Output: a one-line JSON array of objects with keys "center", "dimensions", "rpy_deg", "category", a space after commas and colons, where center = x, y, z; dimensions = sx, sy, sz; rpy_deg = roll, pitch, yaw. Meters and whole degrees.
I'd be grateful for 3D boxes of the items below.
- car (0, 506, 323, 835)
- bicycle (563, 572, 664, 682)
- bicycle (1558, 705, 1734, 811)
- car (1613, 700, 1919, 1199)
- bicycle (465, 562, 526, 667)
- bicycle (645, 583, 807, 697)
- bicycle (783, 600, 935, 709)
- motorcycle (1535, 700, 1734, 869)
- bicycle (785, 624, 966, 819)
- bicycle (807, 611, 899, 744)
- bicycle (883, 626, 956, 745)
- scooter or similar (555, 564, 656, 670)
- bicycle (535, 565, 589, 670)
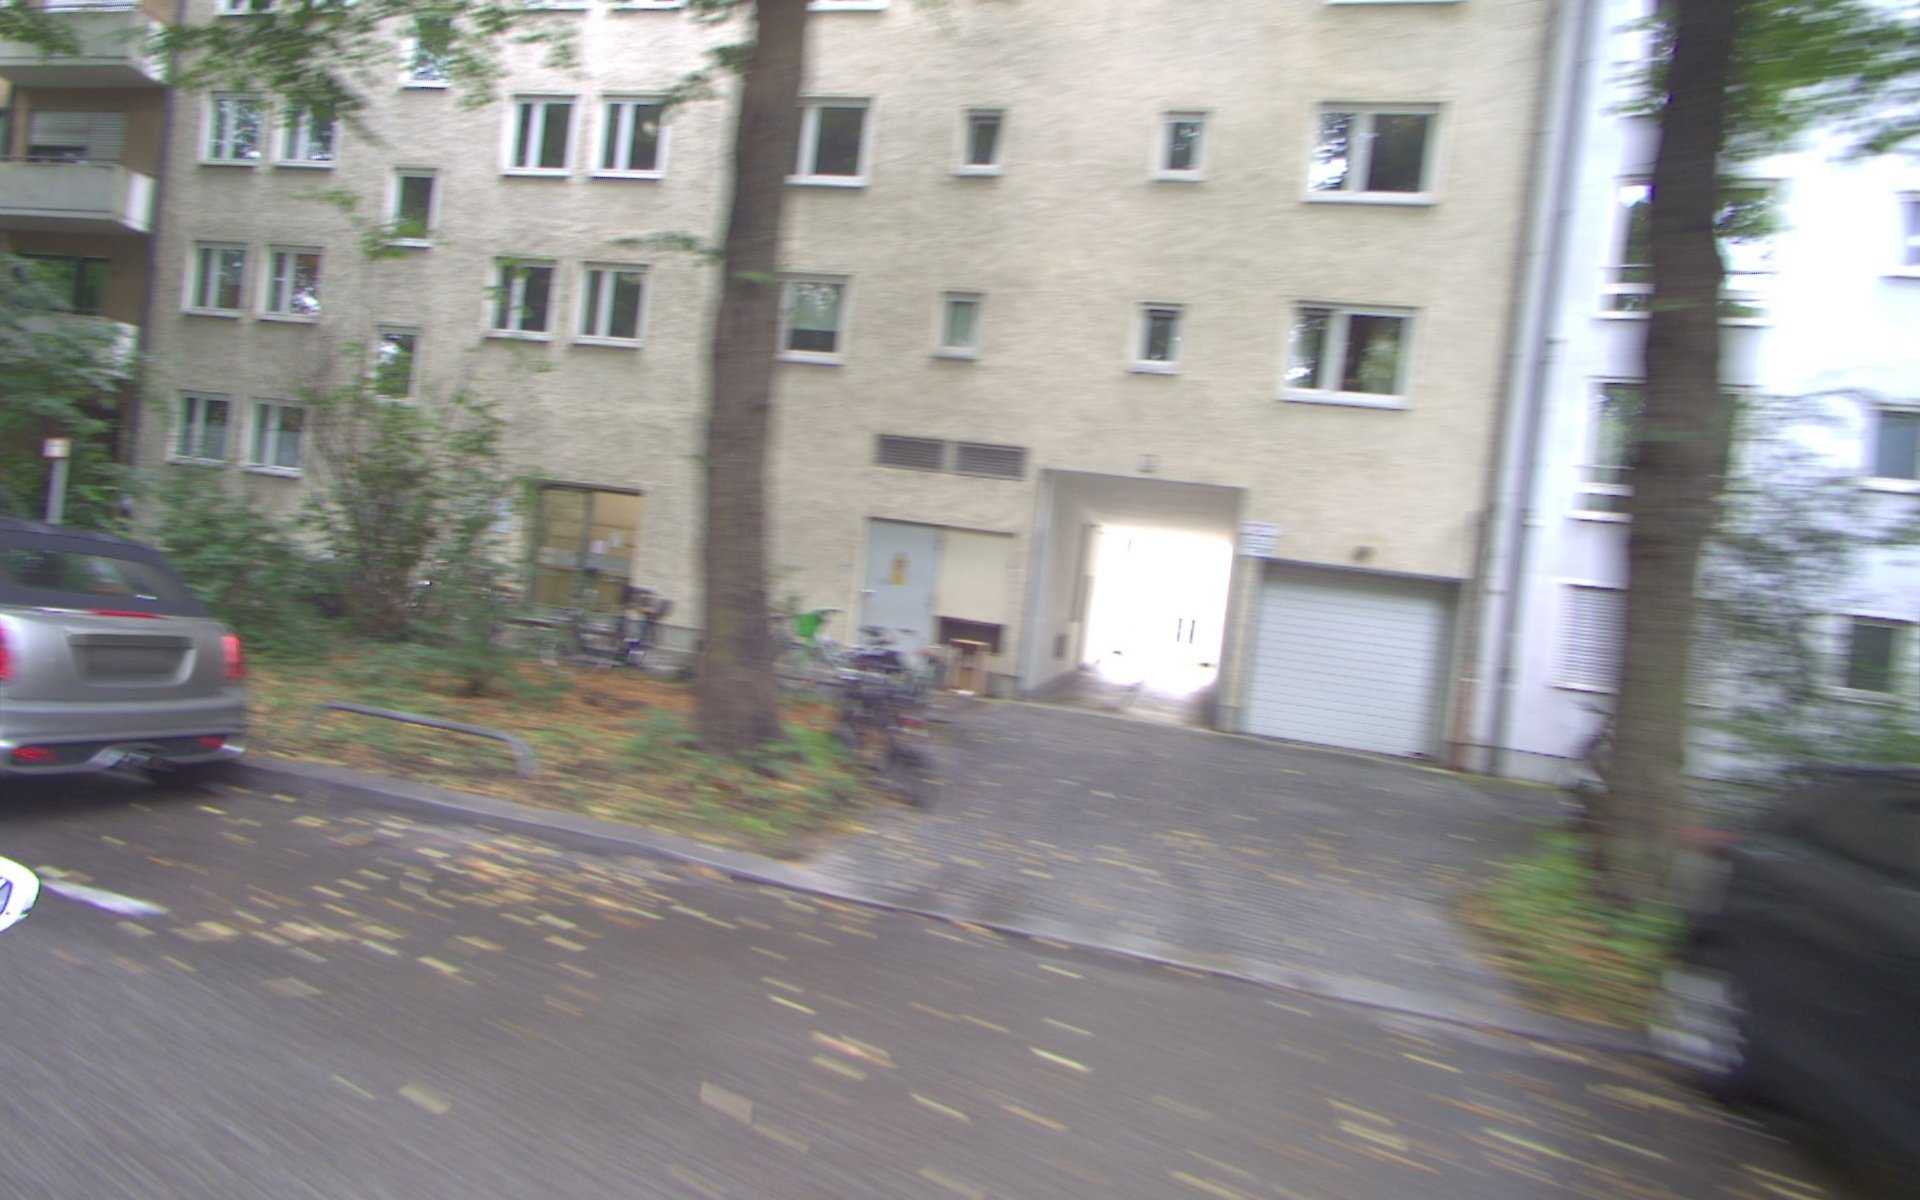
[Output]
[{"center": [-6.205, 0.119, 5.617], "dimensions": [4.345, 1.431, 1.905], "rpy_deg": [7, 1, 13], "category": "car"}, {"center": [-4.032, 0.303, 11.849], "dimensions": [0.437, 1.137, 1.948], "rpy_deg": [7, -1, -1], "category": "bicycle"}, {"center": [8.741, 1.998, 12.880], "dimensions": [1.669, 1.037, 0.538], "rpy_deg": [7, 4, 13], "category": "bicycle"}, {"center": [3.501, 1.189, 2.628], "dimensions": [1.702, 1.411, 4.098], "rpy_deg": [7, -1, 15], "category": "car"}, {"center": [-5.572, 0.144, 12.130], "dimensions": [0.439, 1.137, 1.763], "rpy_deg": [7, 0, -21], "category": "bicycle"}, {"center": [-2.817, 0.479, 12.173], "dimensions": [1.738, 1.138, 0.446], "rpy_deg": [7, 0, 3], "category": "bicycle"}, {"center": [-1.259, 0.677, 12.666], "dimensions": [1.738, 1.138, 0.446], "rpy_deg": [7, 0, 3], "category": "bicycle"}, {"center": [6.206, 1.644, 9.391], "dimensions": [0.678, 1.212, 1.808], "rpy_deg": [7, 0, 7], "category": "motorcycle"}, {"center": [-0.717, 0.870, 7.757], "dimensions": [0.756, 1.178, 1.860], "rpy_deg": [7, 0, -22], "category": "bicycle"}, {"center": [-1.024, 0.721, 10.036], "dimensions": [0.530, 1.137, 1.877], "rpy_deg": [7, -1, 2], "category": "bicycle"}, {"center": [-0.411, 0.886, 11.102], "dimensions": [0.530, 1.137, 1.877], "rpy_deg": [7, -1, 2], "category": "bicycle"}, {"center": [-4.751, 0.223, 13.485], "dimensions": [1.115, 1.268, 0.385], "rpy_deg": [7, 0, 14], "category": "scooter or similar"}, {"center": [-4.780, 0.174, 12.103], "dimensions": [0.439, 1.137, 1.763], "rpy_deg": [7, 0, -21], "category": "bicycle"}]
